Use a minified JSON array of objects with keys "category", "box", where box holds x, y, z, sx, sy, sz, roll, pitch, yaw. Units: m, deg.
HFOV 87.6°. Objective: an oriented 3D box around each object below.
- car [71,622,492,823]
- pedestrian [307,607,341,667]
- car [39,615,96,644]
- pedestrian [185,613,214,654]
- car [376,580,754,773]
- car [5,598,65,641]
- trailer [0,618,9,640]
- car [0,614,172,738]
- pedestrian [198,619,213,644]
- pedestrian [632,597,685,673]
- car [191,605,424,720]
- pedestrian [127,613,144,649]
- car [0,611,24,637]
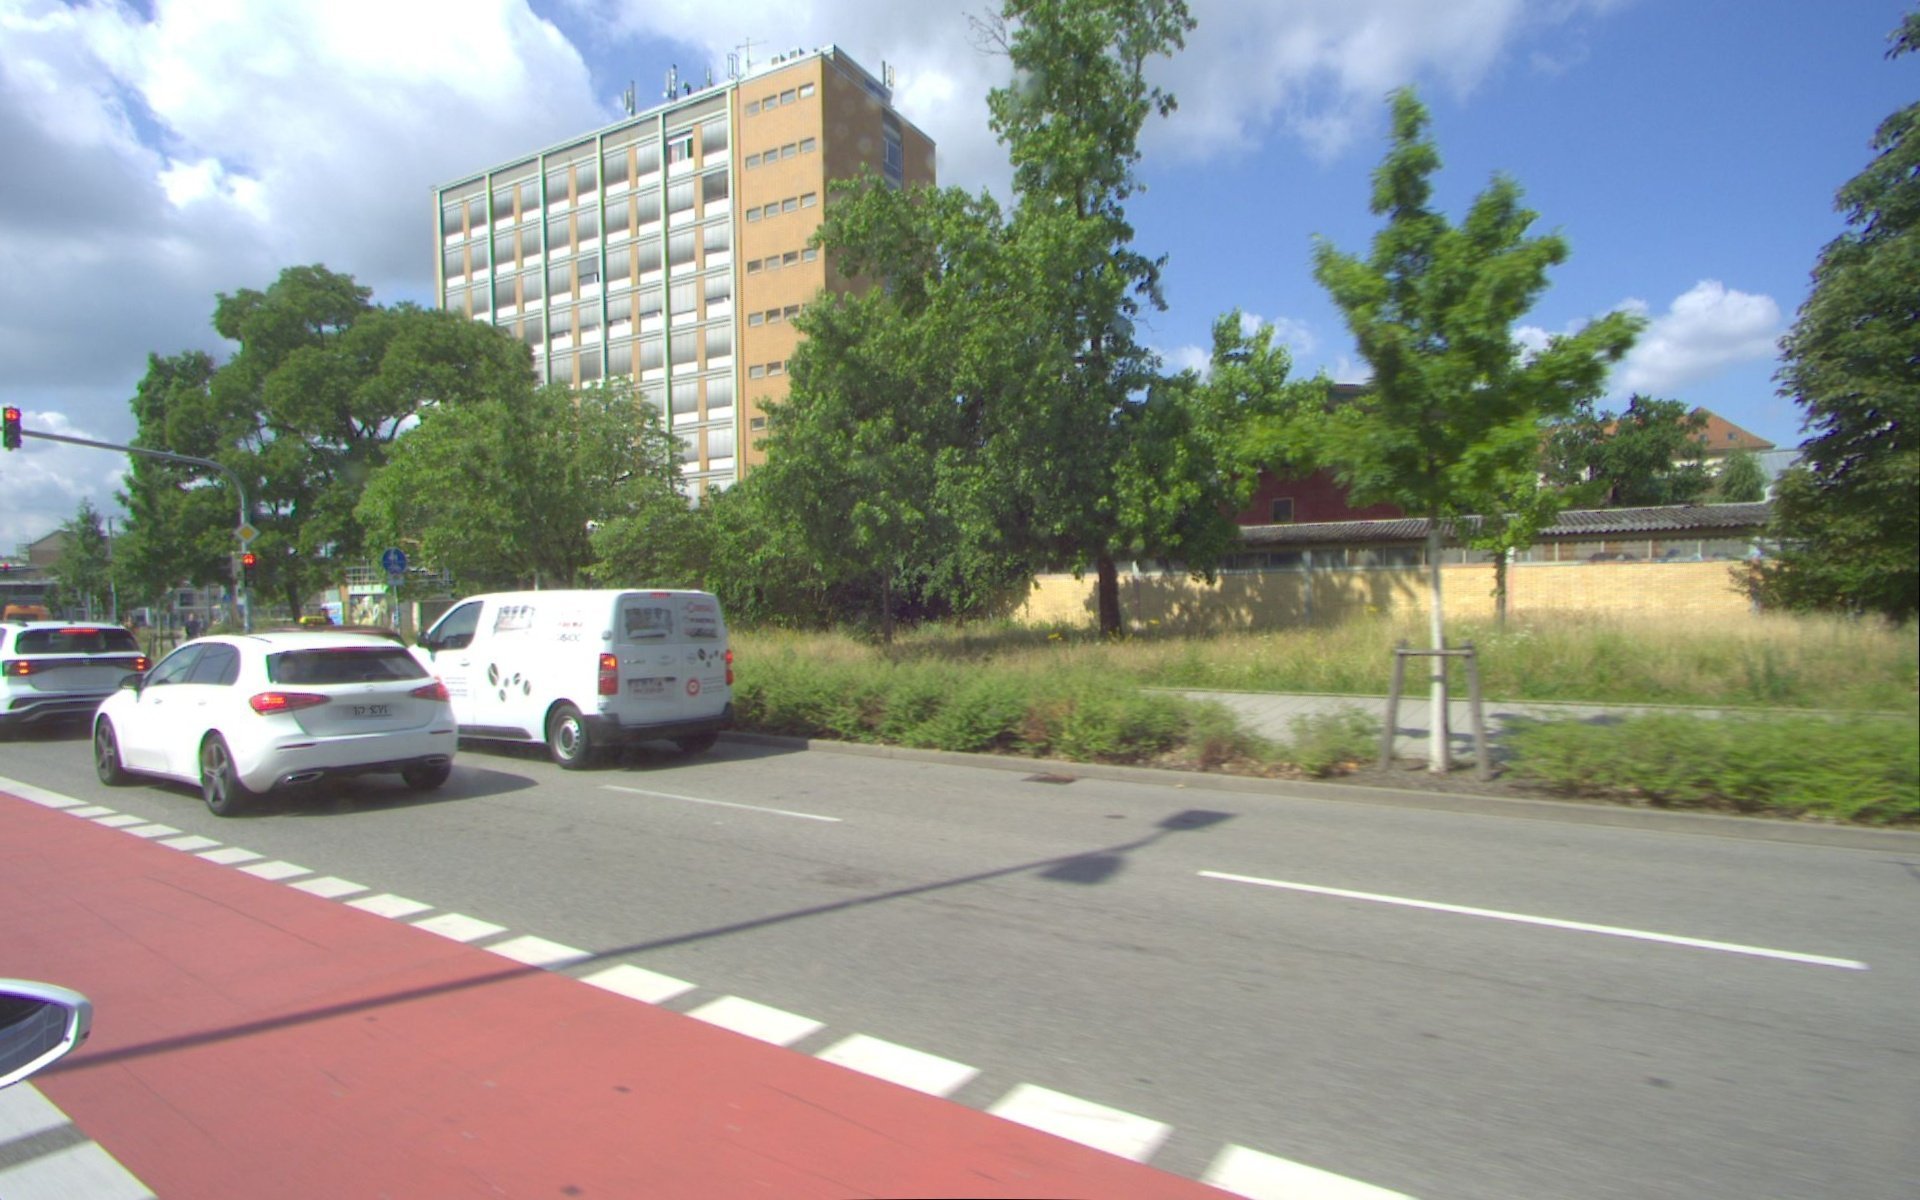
[{"category":"car","box":[-6.510,0.953,9.466,4.326,1.443,1.898,0,0,35]},{"category":"pedestrian","box":[-18.924,1.084,29.808,0.737,1.758,0.673,-1,1,-42]},{"category":"car","box":[-58.883,1.916,66.167,1.971,1.818,3.979,-1,0,-30]},{"category":"pedestrian","box":[-28.717,1.263,37.793,0.545,1.528,0.766,0,0,39]},{"category":"car","box":[-4.846,0.772,12.019,4.760,1.895,1.936,0,0,35]},{"category":"car","box":[-64.050,1.329,69.403,2.107,2.817,4.612,-1,0,-31]},{"category":"trailer","box":[-66.894,2.034,68.310,1.971,1.497,3.979,-1,0,-30]},{"category":"car","box":[-13.160,0.997,14.422,3.957,1.559,1.786,-1,-2,35]},{"category":"pedestrian","box":[-55.523,2.282,73.658,0.779,1.807,0.663,-1,1,-32]},{"category":"pedestrian","box":[-6.692,0.767,22.269,0.711,1.660,0.865,0,0,36]},{"category":"car","box":[-10.770,0.926,16.427,4.402,1.662,1.676,-1,0,35]},{"category":"pedestrian","box":[-41.287,1.533,50.142,0.655,1.756,0.573,-1,1,-40]},{"category":"car","box":[-68.701,1.715,71.378,1.971,1.851,3.979,-1,0,-30]}]
